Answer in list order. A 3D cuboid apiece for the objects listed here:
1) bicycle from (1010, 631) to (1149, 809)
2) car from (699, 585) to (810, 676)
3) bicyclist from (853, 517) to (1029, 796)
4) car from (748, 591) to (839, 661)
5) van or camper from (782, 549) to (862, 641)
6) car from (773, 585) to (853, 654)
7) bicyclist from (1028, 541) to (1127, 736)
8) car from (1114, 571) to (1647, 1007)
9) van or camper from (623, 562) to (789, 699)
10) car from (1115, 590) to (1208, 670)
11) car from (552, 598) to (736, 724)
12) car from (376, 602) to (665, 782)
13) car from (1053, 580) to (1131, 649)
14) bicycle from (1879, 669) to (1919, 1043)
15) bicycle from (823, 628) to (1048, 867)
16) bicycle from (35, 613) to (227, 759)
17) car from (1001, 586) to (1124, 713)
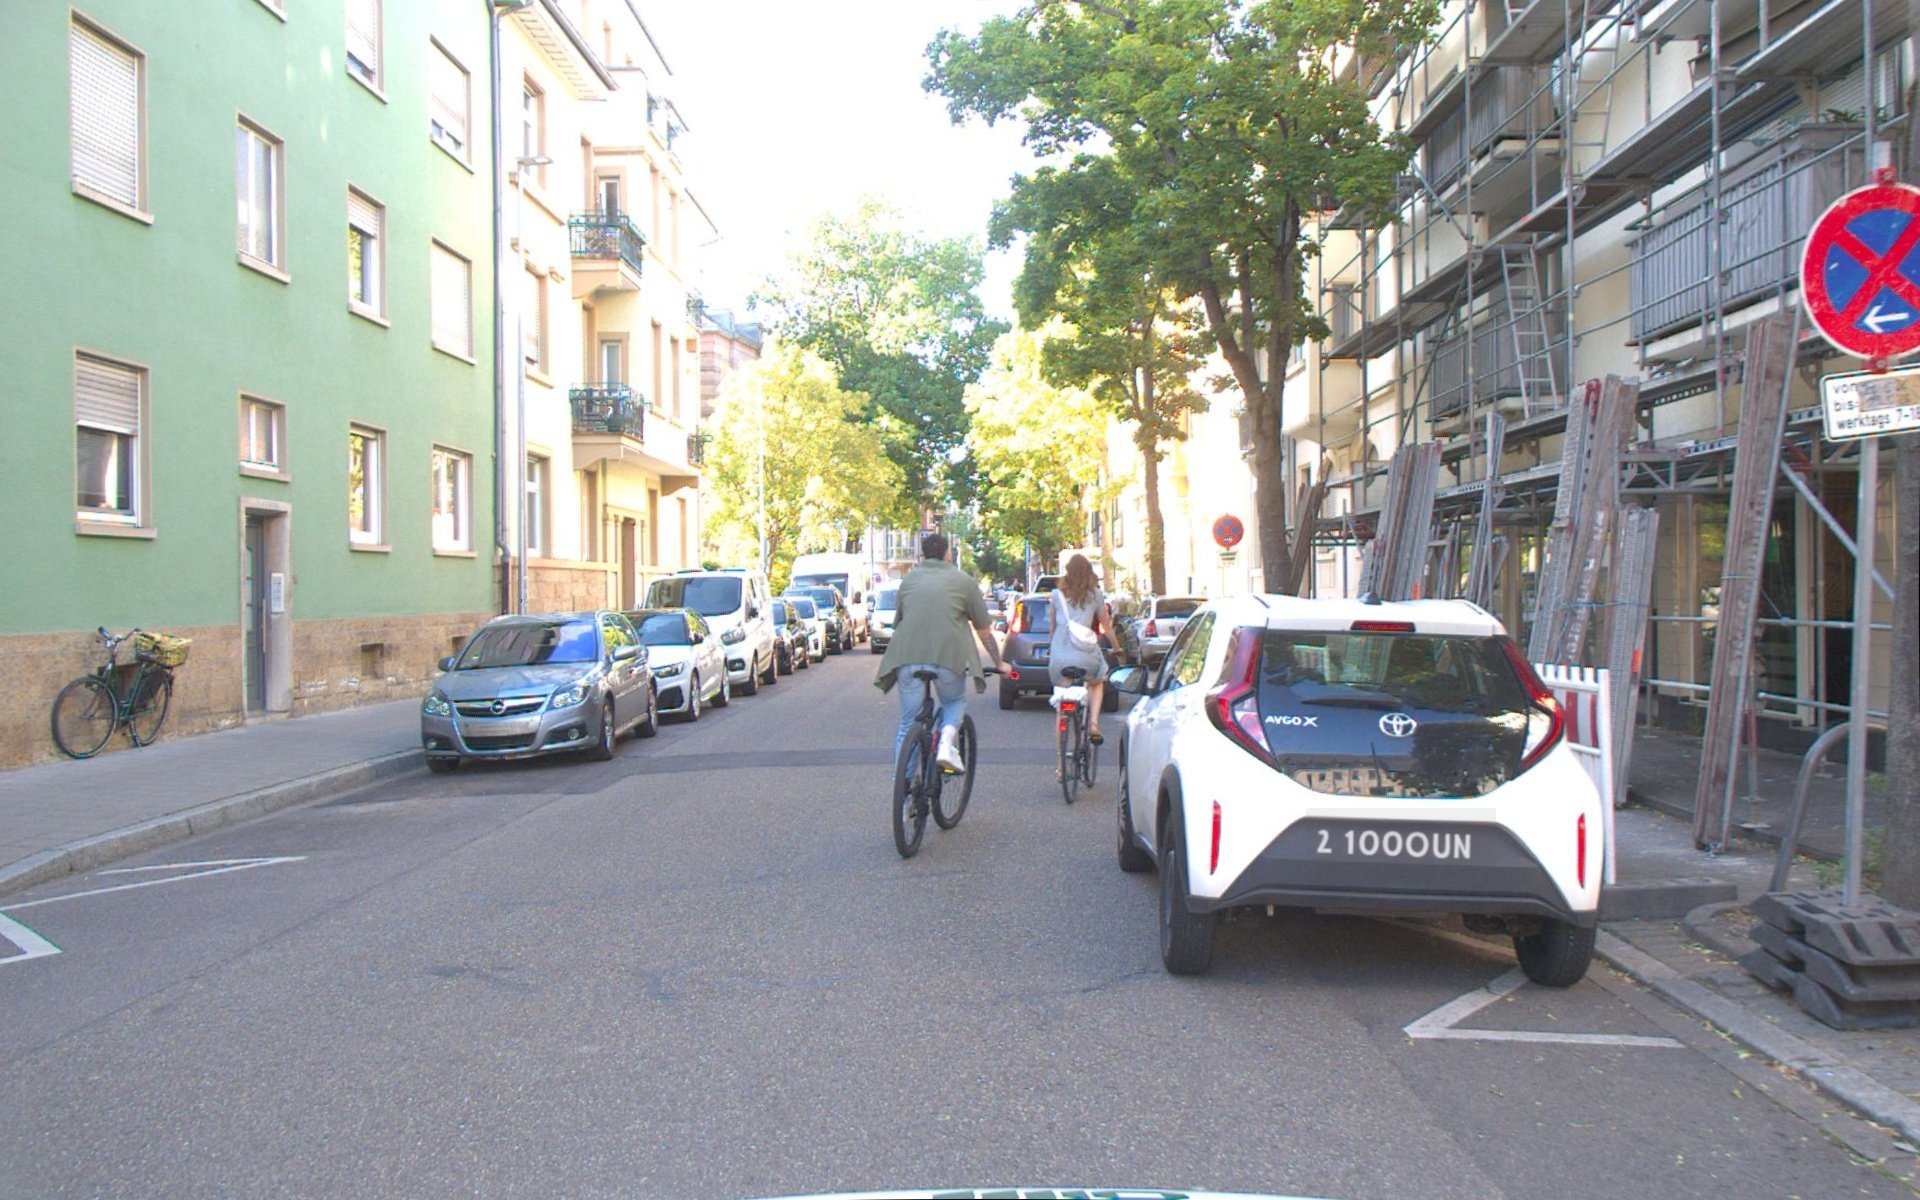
[{"bbox_3d":[0.959,0.855,12.660,0.821,1.169,2.235,1,0,10],"label":"bicycle"},{"bbox_3d":[-4.066,0.563,33.325,1.675,1.713,4.000,-1,0,1],"label":"car"},{"bbox_3d":[-0.098,0.350,9.958,0.863,1.589,0.868,-2,-3,12],"label":"bicyclist"},{"bbox_3d":[-3.860,0.576,38.907,1.675,1.531,4.000,-1,0,1],"label":"car"},{"bbox_3d":[-4.088,-0.159,49.654,1.953,2.597,5.023,-1,0,0],"label":"van or camper"},{"bbox_3d":[-3.806,0.469,43.422,1.675,1.729,4.000,-1,0,1],"label":"car"},{"bbox_3d":[0.898,0.311,12.519,0.609,1.405,0.868,-2,-4,12],"label":"bicyclist"},{"bbox_3d":[1.706,0.689,7.782,1.640,1.572,3.403,1,0,0],"label":"car"},{"bbox_3d":[-4.150,0.454,27.836,1.952,2.049,4.912,-1,0,1],"label":"van or camper"},{"bbox_3d":[3.935,0.552,32.680,1.524,1.434,3.382,2,1,2],"label":"car"},{"bbox_3d":[-4.116,0.747,22.088,1.652,1.479,3.711,-1,0,1],"label":"car"},{"bbox_3d":[-4.331,0.832,16.989,1.939,1.481,4.112,-3,0,-2],"label":"car"},{"bbox_3d":[3.424,0.355,43.506,1.652,1.713,4.000,-1,0,0],"label":"car"},{"bbox_3d":[4.049,0.773,5.331,1.949,1.185,0.723,-3,1,-17],"label":"bicycle"},{"bbox_3d":[-0.082,0.817,10.094,0.821,1.169,2.235,0,2,14],"label":"bicycle"},{"bbox_3d":[-7.664,0.751,15.424,0.539,1.198,2.279,2,0,2],"label":"bicycle"},{"bbox_3d":[1.367,0.607,22.638,1.524,1.559,3.488,1,1,2],"label":"car"}]
